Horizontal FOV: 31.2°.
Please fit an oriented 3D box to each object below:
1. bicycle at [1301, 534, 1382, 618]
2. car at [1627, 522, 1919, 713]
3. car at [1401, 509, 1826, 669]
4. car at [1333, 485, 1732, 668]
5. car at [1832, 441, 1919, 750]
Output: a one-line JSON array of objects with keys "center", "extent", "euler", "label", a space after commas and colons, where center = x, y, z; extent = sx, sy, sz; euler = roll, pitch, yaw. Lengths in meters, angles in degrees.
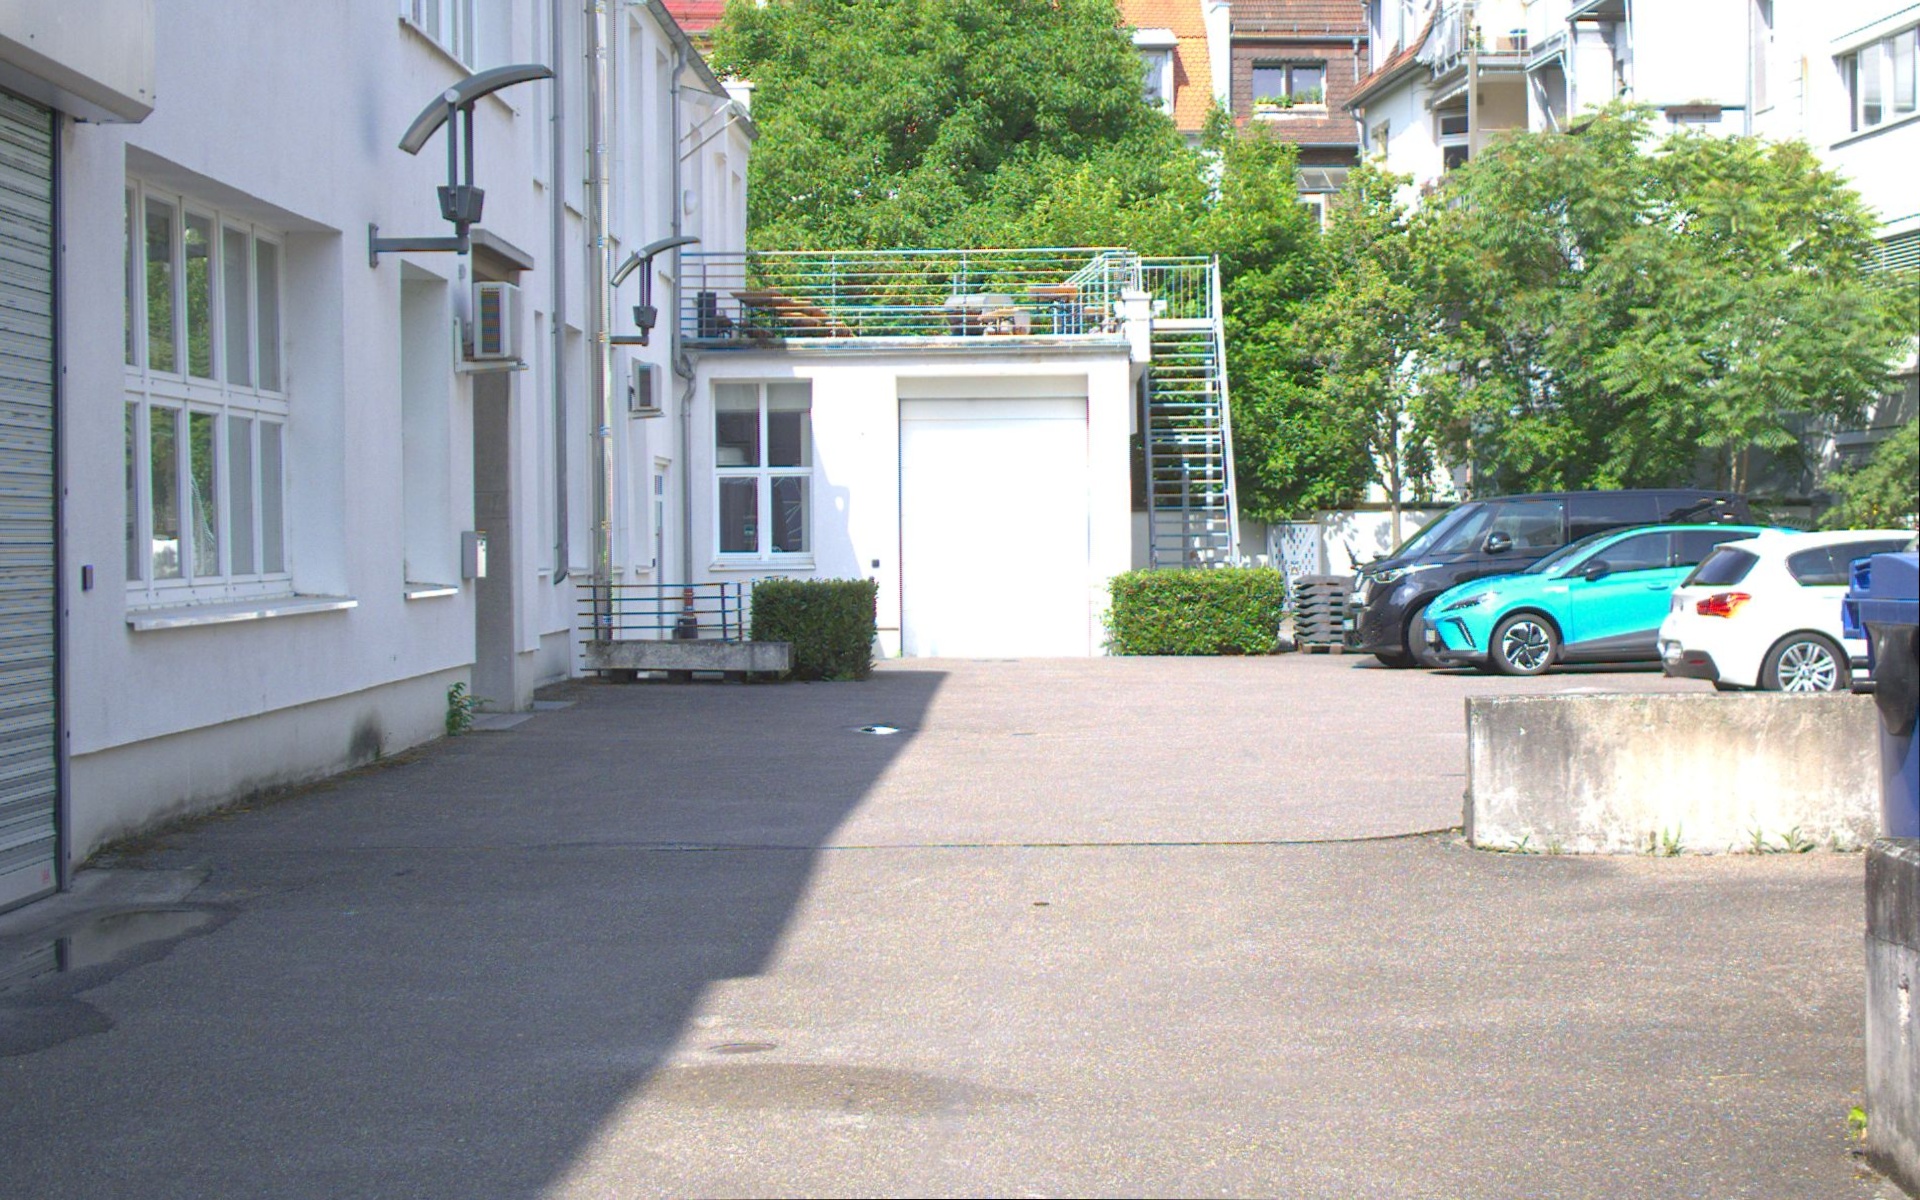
[{"center": [5.268, -0.349, 47.584], "extent": [0.641, 1.113, 1.859], "euler": [2, 1, -8], "label": "bicycle"}, {"center": [7.577, 0.110, 27.818], "extent": [3.986, 1.440, 1.629], "euler": [0, 3, -4], "label": "car"}, {"center": [6.659, -0.133, 35.265], "extent": [3.986, 1.568, 1.629], "euler": [0, 3, -4], "label": "car"}, {"center": [6.278, -0.262, 37.945], "extent": [3.986, 1.811, 1.664], "euler": [2, 1, -4], "label": "car"}, {"center": [7.361, -0.025, 20.021], "extent": [3.986, 1.739, 1.950], "euler": [0, 2, -4], "label": "car"}]
